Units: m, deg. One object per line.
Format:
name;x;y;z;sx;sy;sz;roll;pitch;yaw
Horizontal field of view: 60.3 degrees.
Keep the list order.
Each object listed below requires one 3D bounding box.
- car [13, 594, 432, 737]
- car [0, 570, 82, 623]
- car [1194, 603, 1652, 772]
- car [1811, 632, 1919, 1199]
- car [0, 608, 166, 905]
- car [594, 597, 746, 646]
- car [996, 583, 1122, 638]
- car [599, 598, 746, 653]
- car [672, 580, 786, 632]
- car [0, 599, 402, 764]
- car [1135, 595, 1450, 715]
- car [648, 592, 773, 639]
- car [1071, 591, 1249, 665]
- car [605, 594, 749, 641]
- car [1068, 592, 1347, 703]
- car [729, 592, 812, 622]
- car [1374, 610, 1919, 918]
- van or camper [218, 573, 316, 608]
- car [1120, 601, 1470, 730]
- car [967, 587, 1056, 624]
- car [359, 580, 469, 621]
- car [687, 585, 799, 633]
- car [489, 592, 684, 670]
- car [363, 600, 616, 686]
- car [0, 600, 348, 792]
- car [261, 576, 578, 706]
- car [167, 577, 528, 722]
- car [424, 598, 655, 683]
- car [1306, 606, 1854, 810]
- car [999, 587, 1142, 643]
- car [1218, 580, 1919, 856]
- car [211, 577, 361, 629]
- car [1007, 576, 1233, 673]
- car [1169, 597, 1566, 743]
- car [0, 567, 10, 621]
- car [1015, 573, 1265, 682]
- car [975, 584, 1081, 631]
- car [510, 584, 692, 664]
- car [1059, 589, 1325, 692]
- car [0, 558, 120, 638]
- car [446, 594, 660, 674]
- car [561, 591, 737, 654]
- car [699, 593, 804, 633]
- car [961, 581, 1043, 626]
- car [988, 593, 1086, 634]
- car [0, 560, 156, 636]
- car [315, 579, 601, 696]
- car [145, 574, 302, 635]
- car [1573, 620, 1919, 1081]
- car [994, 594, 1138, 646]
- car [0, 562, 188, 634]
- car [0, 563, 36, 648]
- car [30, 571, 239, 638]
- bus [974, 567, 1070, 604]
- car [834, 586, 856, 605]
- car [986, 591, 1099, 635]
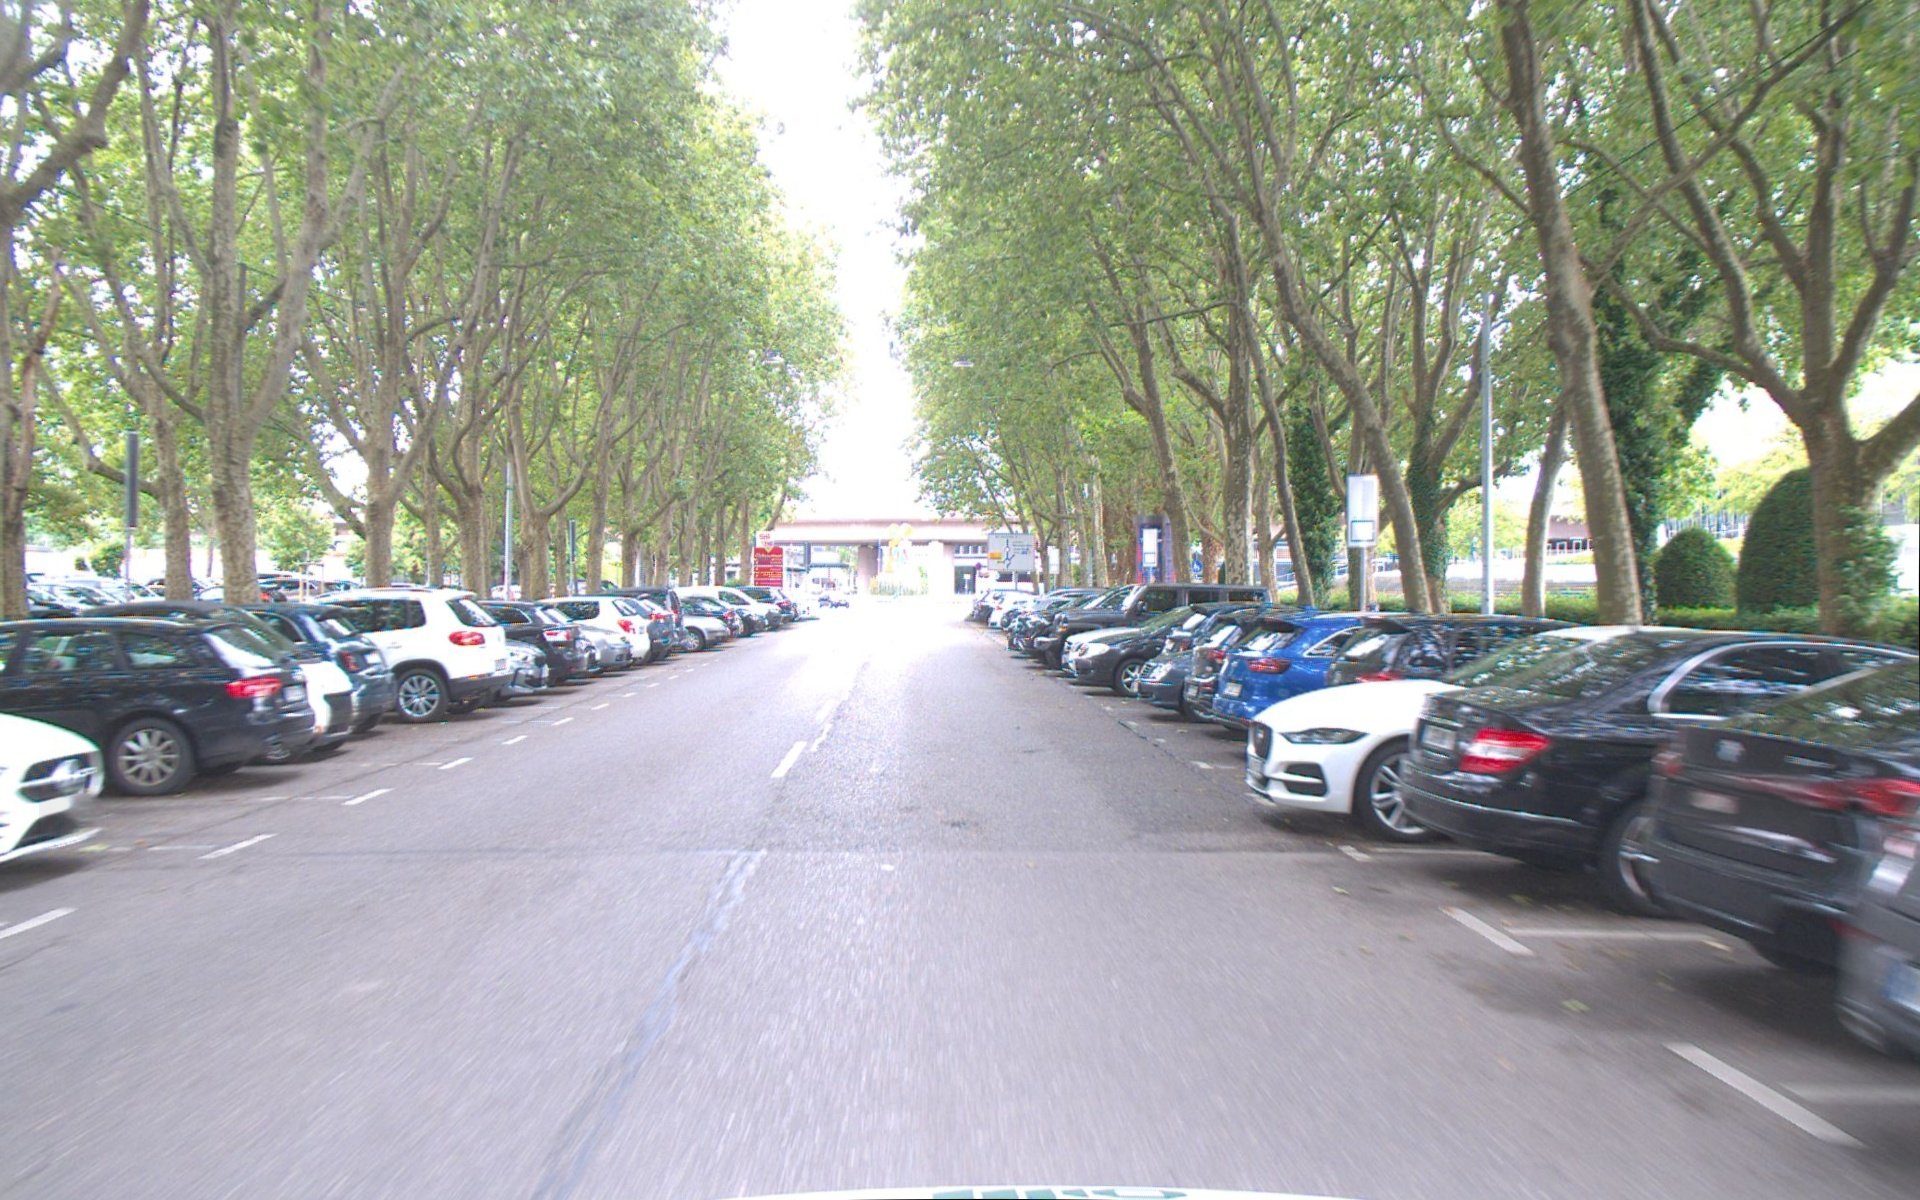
car;-8.279;0.714;18.838;3.906;1.478;1.855;1;0;-1
car;-35.058;-0.143;60.647;4.482;1.887;2.297;1;0;3
car;4.514;0.836;16.453;3.939;1.472;1.911;2;1;-8
car;4.728;0.880;3.934;4.492;1.442;1.719;1;1;1
car;-7.066;0.846;9.146;4.320;1.469;2.046;-1;1;-3
car;-8.986;0.651;51.565;4.372;1.371;1.901;-1;1;0
car;3.503;0.365;59.071;4.260;1.776;1.836;2;1;-4
car;-8.019;0.697;46.359;3.852;1.422;1.702;-1;1;-3
car;-8.878;0.215;63.861;4.234;1.841;1.865;-2;0;-6
car;-7.783;0.759;16.305;3.906;1.478;1.855;1;0;-1
car;4.754;0.767;23.949;4.114;1.545;1.783;2;1;-5
car;-8.446;0.517;56.183;3.896;1.445;1.756;-2;0;1
car;5.384;0.734;44.851;4.411;1.828;2.044;2;1;-8
car;-9.151;0.561;53.754;4.373;1.393;1.879;-1;1;-2
car;3.889;0.733;26.409;4.111;1.545;1.784;2;0;-2
car;-9.584;0.356;83.997;3.911;1.409;1.912;1;0;2
car;4.375;0.838;9.062;3.752;1.442;1.718;1;1;-1
van or camper;-36.635;-0.495;87.494;4.234;1.739;2.131;1;0;-3
car;4.293;0.824;21.568;4.114;1.481;1.783;2;1;-5
car;2.499;0.240;81.566;4.258;1.662;1.925;2;1;-1
car;-24.435;0.017;74.169;4.234;1.739;2.131;1;0;-3
car;-8.678;0.344;66.384;4.230;1.826;2.036;1;0;-2
car;-8.074;0.657;35.996;3.852;1.542;1.727;-1;1;-3
car;-8.148;0.739;28.912;3.908;1.393;1.843;1;0;-3
car;-7.513;0.757;14.053;3.906;1.478;1.855;1;0;-1
car;-7.644;0.567;23.675;3.906;1.711;1.855;1;0;-1
car;-7.761;0.615;21.246;3.906;1.711;1.855;1;0;-1
car;-7.839;0.739;31.118;3.914;1.445;1.702;-1;1;-3
car;5.105;0.862;13.983;3.934;1.472;1.783;2;1;-1
car;3.573;0.471;54.075;4.497;1.668;1.872;2;1;0
car;4.187;0.740;11.454;4.432;1.651;2.054;1;1;-1
car;-24.286;0.108;59.709;4.460;1.756;2.295;1;0;-3
car;3.268;0.487;34.417;4.405;1.828;2.047;2;1;-2
car;4.650;0.784;19.222;4.114;1.481;1.783;2;1;-5
car;-36.061;-0.247;57.732;4.482;1.887;2.297;1;0;3
car;3.390;0.492;31.653;4.408;1.899;2.045;2;1;-5
car;2.825;0.301;69.301;4.260;1.791;1.924;2;0;-3
car;-8.296;0.536;38.489;3.852;1.738;1.751;-1;1;-3
car;4.004;0.680;29.146;4.402;1.599;2.048;2;1;1
car;-23.019;-0.063;39.392;4.844;1.828;2.181;1;0;-4
car;-8.338;0.681;34.044;3.910;1.511;1.704;-1;1;3
car;-8.200;0.574;43.928;4.374;1.508;1.702;-1;1;-3
car;-8.655;0.523;68.827;4.044;1.477;2.013;-2;1;0
car;2.034;0.173;81.235;3.906;2.049;2.000;2;1;-1
car;2.974;0.512;64.081;3.568;1.451;1.664;2;1;-5
car;-23.322;-0.061;41.816;4.844;1.828;2.181;1;0;-4
car;-7.847;0.571;26.132;3.906;1.711;1.855;1;0;-1
car;-24.188;0.138;54.448;4.234;1.893;2.027;1;0;-3
car;4.772;0.867;6.567;3.941;1.442;1.908;1;1;-7
car;3.224;0.607;51.078;4.258;1.438;1.925;2;1;-1
car;-23.657;-0.059;44.340;4.844;1.828;2.181;1;0;-4
car;-22.952;0.101;35.614;4.844;1.828;2.181;0;0;-4
car;-23.450;0.113;47.137;4.844;1.828;2.181;0;0;-4
bus;5.960;-1.389;158.423;9.904;3.458;2.311;0;0;-36
car;-9.959;-0.388;143.889;1.805;1.536;4.012;1;0;-3
car;3.041;0.474;61.532;4.064;1.483;1.726;2;0;-1
